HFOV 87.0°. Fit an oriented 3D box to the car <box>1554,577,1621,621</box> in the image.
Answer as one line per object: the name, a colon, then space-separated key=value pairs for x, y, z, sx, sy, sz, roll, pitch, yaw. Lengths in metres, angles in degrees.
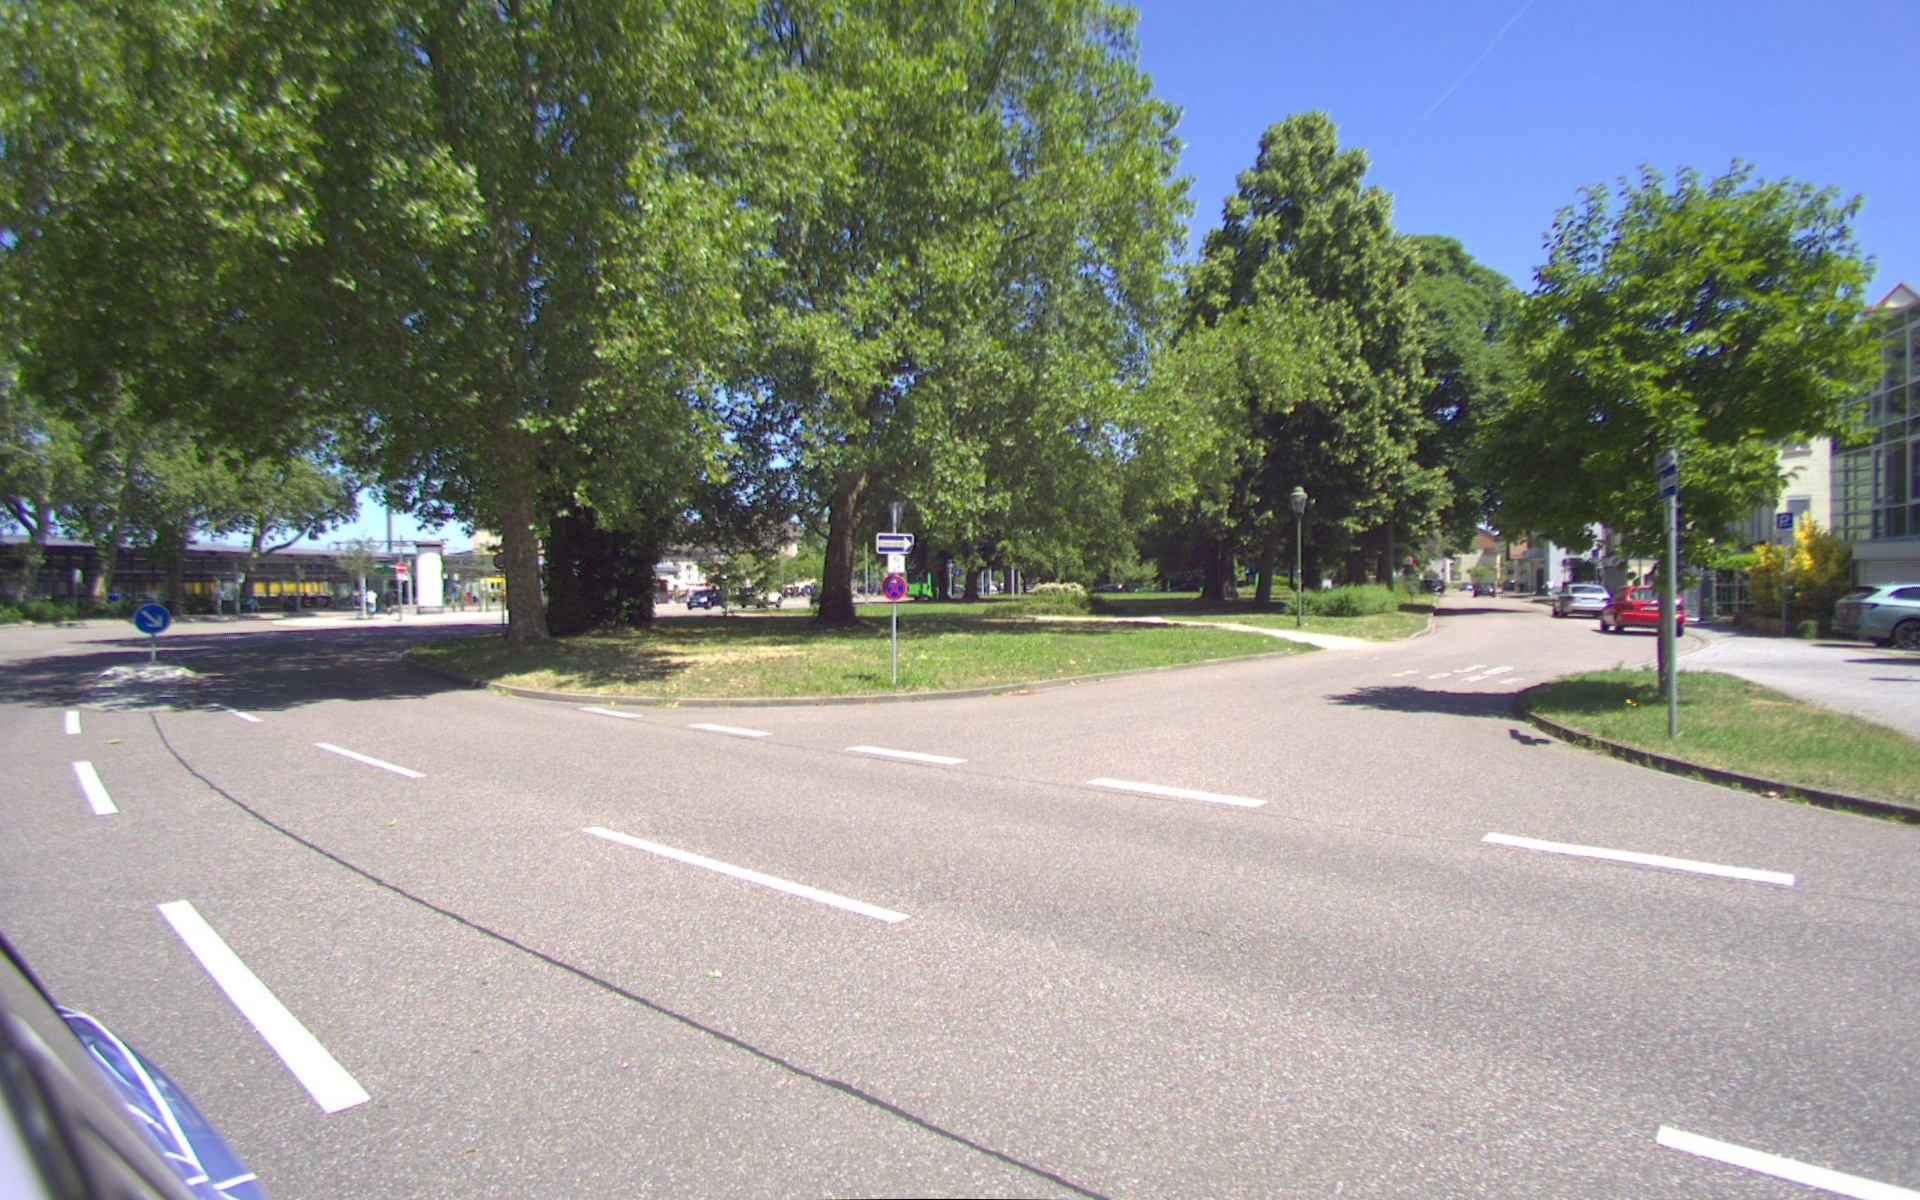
car: x=26.858 y=-0.076 z=43.444 sx=1.989 sy=1.792 sz=4.467 roll=-1 pitch=1 yaw=26

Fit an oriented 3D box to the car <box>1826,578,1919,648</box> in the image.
car: x=21.356 y=0.252 z=21.656 sx=3.984 sy=1.445 sz=1.862 roll=-1 pitch=2 yaw=30

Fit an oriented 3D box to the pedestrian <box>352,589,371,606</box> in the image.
pedestrian: x=-48.420 y=-0.224 z=81.875 sx=0.953 sy=1.396 sz=0.827 roll=-1 pitch=1 yaw=14

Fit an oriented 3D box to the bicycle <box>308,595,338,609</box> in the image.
bicycle: x=-51.142 y=0.152 z=81.224 sx=2.146 sy=1.081 sz=0.668 roll=1 pitch=4 yaw=11

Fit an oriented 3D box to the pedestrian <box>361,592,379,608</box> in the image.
pedestrian: x=-48.279 y=0.004 z=82.766 sx=0.953 sy=1.315 sz=0.827 roll=-1 pitch=1 yaw=14

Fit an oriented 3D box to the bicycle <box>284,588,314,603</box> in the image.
bicycle: x=-56.038 y=-0.374 z=85.814 sx=0.664 sy=1.081 sz=2.159 roll=1 pitch=4 yaw=16

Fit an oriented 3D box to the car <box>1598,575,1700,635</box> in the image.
car: x=20.327 y=0.096 z=30.036 sx=1.991 sy=1.630 sz=4.463 roll=-1 pitch=1 yaw=28

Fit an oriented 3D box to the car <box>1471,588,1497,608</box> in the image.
car: x=48.106 y=-0.217 z=92.952 sx=1.990 sy=1.792 sz=4.465 roll=-1 pitch=1 yaw=27

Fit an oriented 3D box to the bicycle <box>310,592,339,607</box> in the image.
bicycle: x=-53.403 y=-0.038 z=85.122 sx=0.664 sy=1.081 sz=2.159 roll=1 pitch=4 yaw=16

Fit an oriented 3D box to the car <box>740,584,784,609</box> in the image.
car: x=-14.344 y=-0.223 z=73.642 sx=2.024 sy=1.760 sz=4.316 roll=1 pitch=0 yaw=5

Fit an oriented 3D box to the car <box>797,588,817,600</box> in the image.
car: x=-25.563 y=-1.014 z=168.910 sx=1.980 sy=2.029 sz=3.984 roll=-1 pitch=1 yaw=13

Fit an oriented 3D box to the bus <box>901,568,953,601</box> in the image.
bus: x=-3.340 y=-1.653 z=107.011 sx=2.787 sy=3.327 sz=11.814 roll=-1 pitch=1 yaw=12

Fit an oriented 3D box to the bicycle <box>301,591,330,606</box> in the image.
bicycle: x=-54.411 y=-0.153 z=85.435 sx=0.664 sy=1.081 sz=2.159 roll=1 pitch=4 yaw=16

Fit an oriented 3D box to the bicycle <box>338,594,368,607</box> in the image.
bicycle: x=-53.706 y=0.000 z=89.554 sx=2.137 sy=1.081 sz=0.865 roll=0 pitch=4 yaw=-4

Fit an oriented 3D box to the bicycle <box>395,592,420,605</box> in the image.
bicycle: x=-52.023 y=-0.148 z=95.309 sx=0.664 sy=1.081 sz=2.159 roll=1 pitch=4 yaw=16

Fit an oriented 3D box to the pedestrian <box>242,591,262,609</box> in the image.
pedestrian: x=-50.482 y=-0.018 z=72.171 sx=0.821 sy=1.284 sz=0.866 roll=-1 pitch=1 yaw=9

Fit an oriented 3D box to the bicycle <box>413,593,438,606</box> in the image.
bicycle: x=-49.003 y=-0.068 z=92.742 sx=2.151 sy=1.081 sz=0.667 roll=2 pitch=4 yaw=17

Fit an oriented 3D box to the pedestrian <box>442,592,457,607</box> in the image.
pedestrian: x=-46.307 y=-0.060 z=91.782 sx=0.953 sy=1.315 sz=0.827 roll=-1 pitch=1 yaw=14

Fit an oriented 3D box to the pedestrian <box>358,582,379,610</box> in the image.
pedestrian: x=-36.218 y=-0.251 z=61.988 sx=0.673 sy=1.749 sz=0.906 roll=-1 pitch=1 yaw=30

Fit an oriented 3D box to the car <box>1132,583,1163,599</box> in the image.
car: x=24.633 y=-1.169 z=133.167 sx=3.960 sy=2.029 sz=1.992 roll=-1 pitch=1 yaw=13

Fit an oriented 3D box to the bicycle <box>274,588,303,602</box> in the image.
bicycle: x=-57.170 y=-0.430 z=86.169 sx=0.664 sy=1.081 sz=2.159 roll=1 pitch=4 yaw=16

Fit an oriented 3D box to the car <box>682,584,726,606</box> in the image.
car: x=-18.518 y=-0.399 z=73.355 sx=1.758 sy=1.556 sz=4.175 roll=1 pitch=1 yaw=7

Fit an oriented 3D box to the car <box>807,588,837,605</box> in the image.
car: x=-11.885 y=-0.268 z=87.297 sx=1.626 sy=1.428 sz=3.991 roll=1 pitch=0 yaw=7

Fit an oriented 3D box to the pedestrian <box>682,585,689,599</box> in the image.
pedestrian: x=-24.763 y=-0.734 z=91.275 sx=0.498 sy=1.241 sz=0.512 roll=-1 pitch=1 yaw=7

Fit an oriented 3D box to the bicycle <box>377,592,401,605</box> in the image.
bicycle: x=-53.691 y=-0.131 z=95.175 sx=2.151 sy=1.081 sz=0.667 roll=2 pitch=4 yaw=17

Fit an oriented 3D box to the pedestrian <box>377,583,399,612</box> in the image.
pedestrian: x=-35.572 y=-0.153 z=62.937 sx=0.690 sy=1.798 sz=0.908 roll=-1 pitch=1 yaw=24
